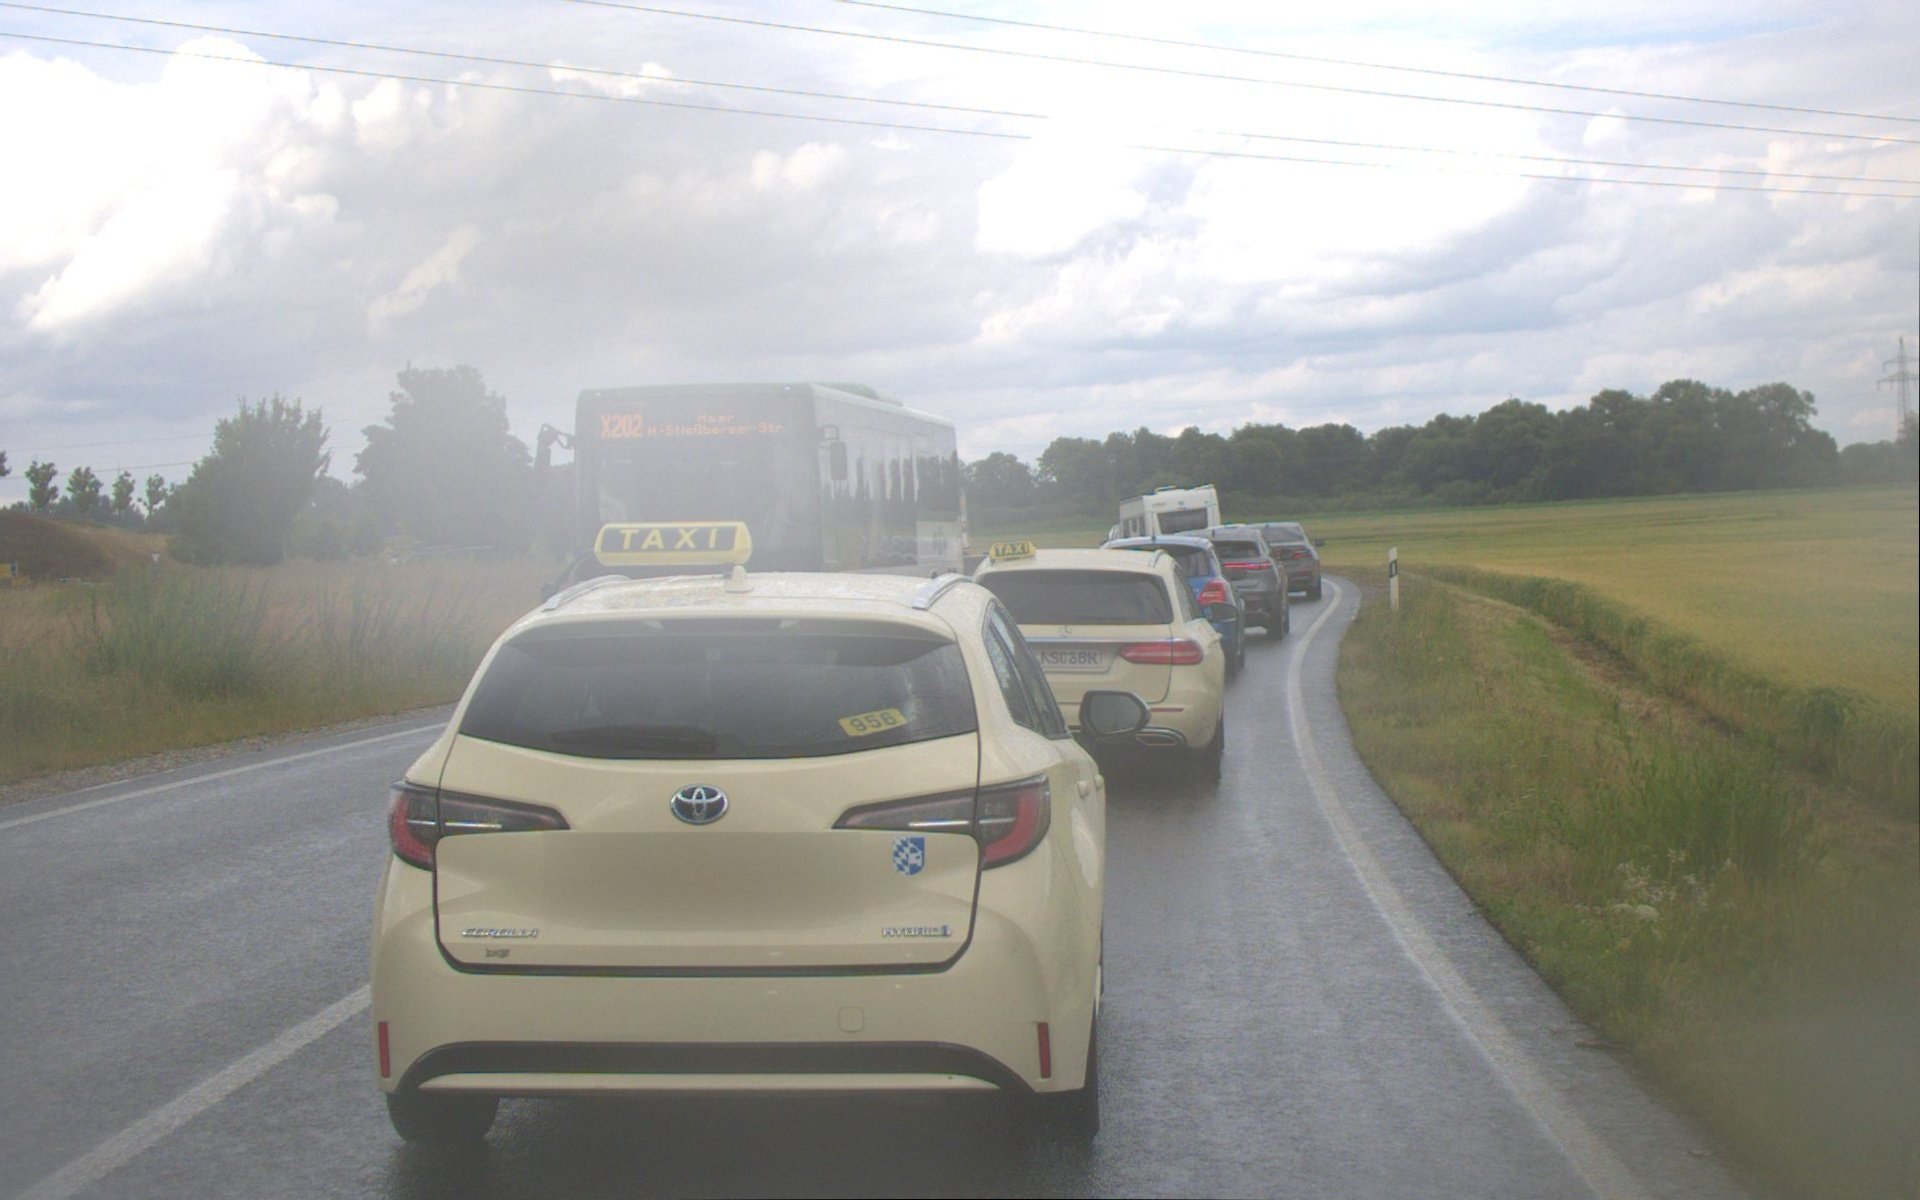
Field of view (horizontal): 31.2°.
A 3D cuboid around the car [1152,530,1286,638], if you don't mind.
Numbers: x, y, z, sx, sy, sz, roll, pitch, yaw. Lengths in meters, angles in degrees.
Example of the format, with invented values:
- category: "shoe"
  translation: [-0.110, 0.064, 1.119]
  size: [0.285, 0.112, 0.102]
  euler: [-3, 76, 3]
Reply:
- category: "car"
  translation: [3.567, -0.206, 46.886]
  size: [1.613, 1.408, 3.737]
  euler: [0, 0, 7]

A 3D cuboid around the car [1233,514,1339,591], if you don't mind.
- category: "car"
  translation: [6.236, -0.892, 66.023]
  size: [1.960, 1.408, 4.391]
  euler: [0, 0, 5]

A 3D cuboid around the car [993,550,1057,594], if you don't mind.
- category: "car"
  translation: [2.039, -0.893, 108.809]
  size: [1.844, 1.383, 4.287]
  euler: [0, 1, -1]

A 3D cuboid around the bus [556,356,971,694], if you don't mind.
- category: "bus"
  translation: [-1.907, -0.840, 39.782]
  size: [2.759, 3.286, 12.500]
  euler: [0, 1, 6]

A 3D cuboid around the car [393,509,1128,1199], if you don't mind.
- category: "car"
  translation: [-0.385, 0.583, 9.414]
  size: [1.613, 1.557, 3.738]
  euler: [0, 0, 2]

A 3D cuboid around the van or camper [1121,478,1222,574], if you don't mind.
- category: "van or camper"
  translation: [6.533, -2.276, 106.961]
  size: [2.536, 2.886, 6.743]
  euler: [0, 1, -2]

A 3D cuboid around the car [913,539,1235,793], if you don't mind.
- category: "car"
  translation: [0.854, 0.347, 22.580]
  size: [1.841, 1.487, 4.607]
  euler: [0, 1, 5]

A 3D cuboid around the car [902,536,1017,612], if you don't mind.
- category: "car"
  translation: [0.030, -0.428, 58.244]
  size: [1.719, 1.247, 3.999]
  euler: [0, 0, 3]

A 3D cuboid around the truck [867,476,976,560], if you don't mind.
- category: "truck"
  translation: [-1.637, -3.296, 139.854]
  size: [3.013, 3.198, 8.235]
  euler: [0, 0, -11]

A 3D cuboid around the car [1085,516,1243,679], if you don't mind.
- category: "car"
  translation: [2.223, -0.025, 36.930]
  size: [1.613, 1.653, 3.738]
  euler: [0, 0, 4]
